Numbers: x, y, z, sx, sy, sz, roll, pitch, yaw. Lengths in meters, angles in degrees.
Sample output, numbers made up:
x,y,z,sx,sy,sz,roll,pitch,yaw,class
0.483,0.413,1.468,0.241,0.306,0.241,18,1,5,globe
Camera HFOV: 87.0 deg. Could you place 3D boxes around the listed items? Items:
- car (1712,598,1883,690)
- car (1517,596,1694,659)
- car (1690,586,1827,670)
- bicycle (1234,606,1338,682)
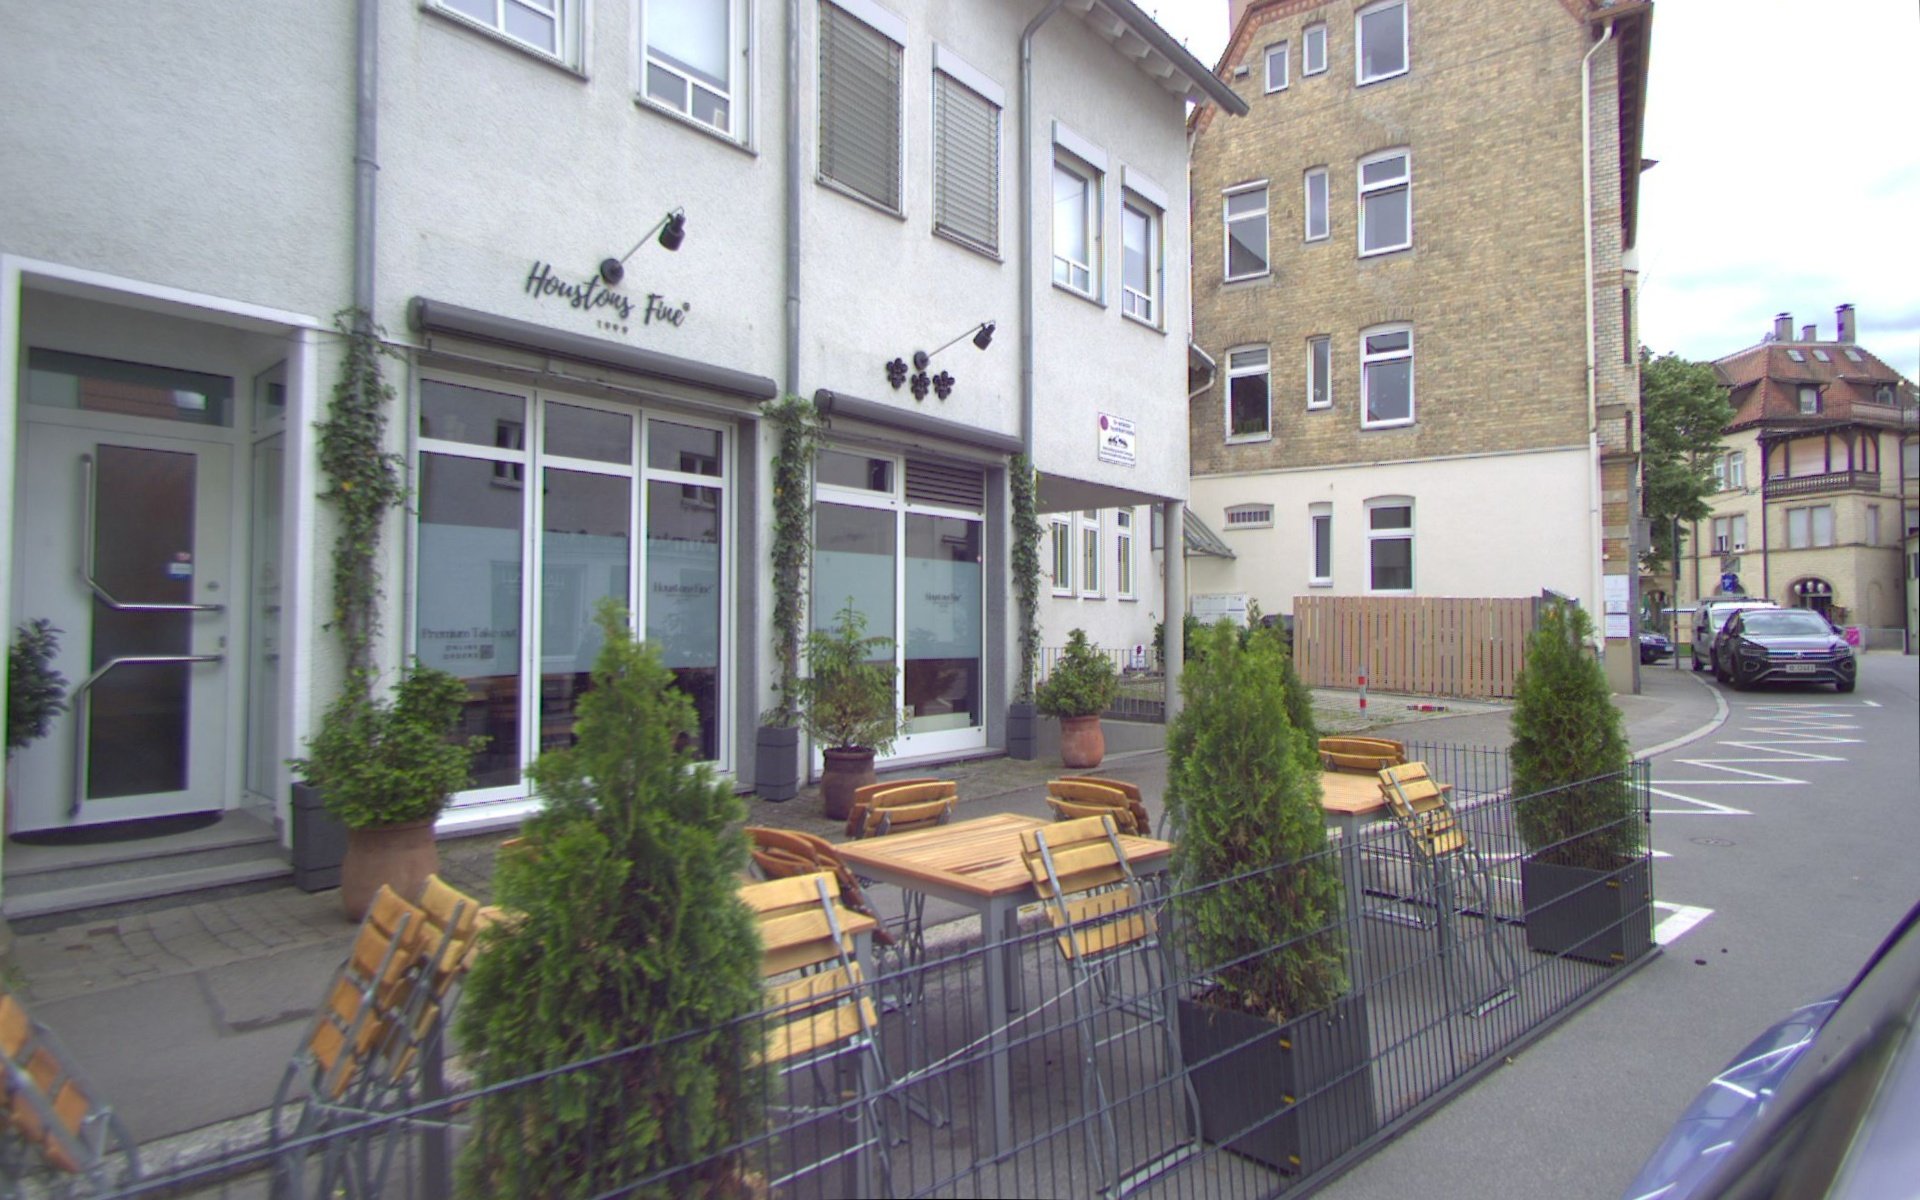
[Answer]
x,y,z,sx,sy,sz,roll,pitch,yaw,class
16.480,0.807,20.169,1.778,1.621,4.495,-2,-1,29,car
19.182,0.806,30.225,1.826,1.726,4.024,-1,-1,-32,car
19.031,0.658,24.315,1.814,1.815,4.176,-1,-2,28,car
5.824,0.768,18.024,0.959,1.234,2.067,2,-1,43,bicycle
